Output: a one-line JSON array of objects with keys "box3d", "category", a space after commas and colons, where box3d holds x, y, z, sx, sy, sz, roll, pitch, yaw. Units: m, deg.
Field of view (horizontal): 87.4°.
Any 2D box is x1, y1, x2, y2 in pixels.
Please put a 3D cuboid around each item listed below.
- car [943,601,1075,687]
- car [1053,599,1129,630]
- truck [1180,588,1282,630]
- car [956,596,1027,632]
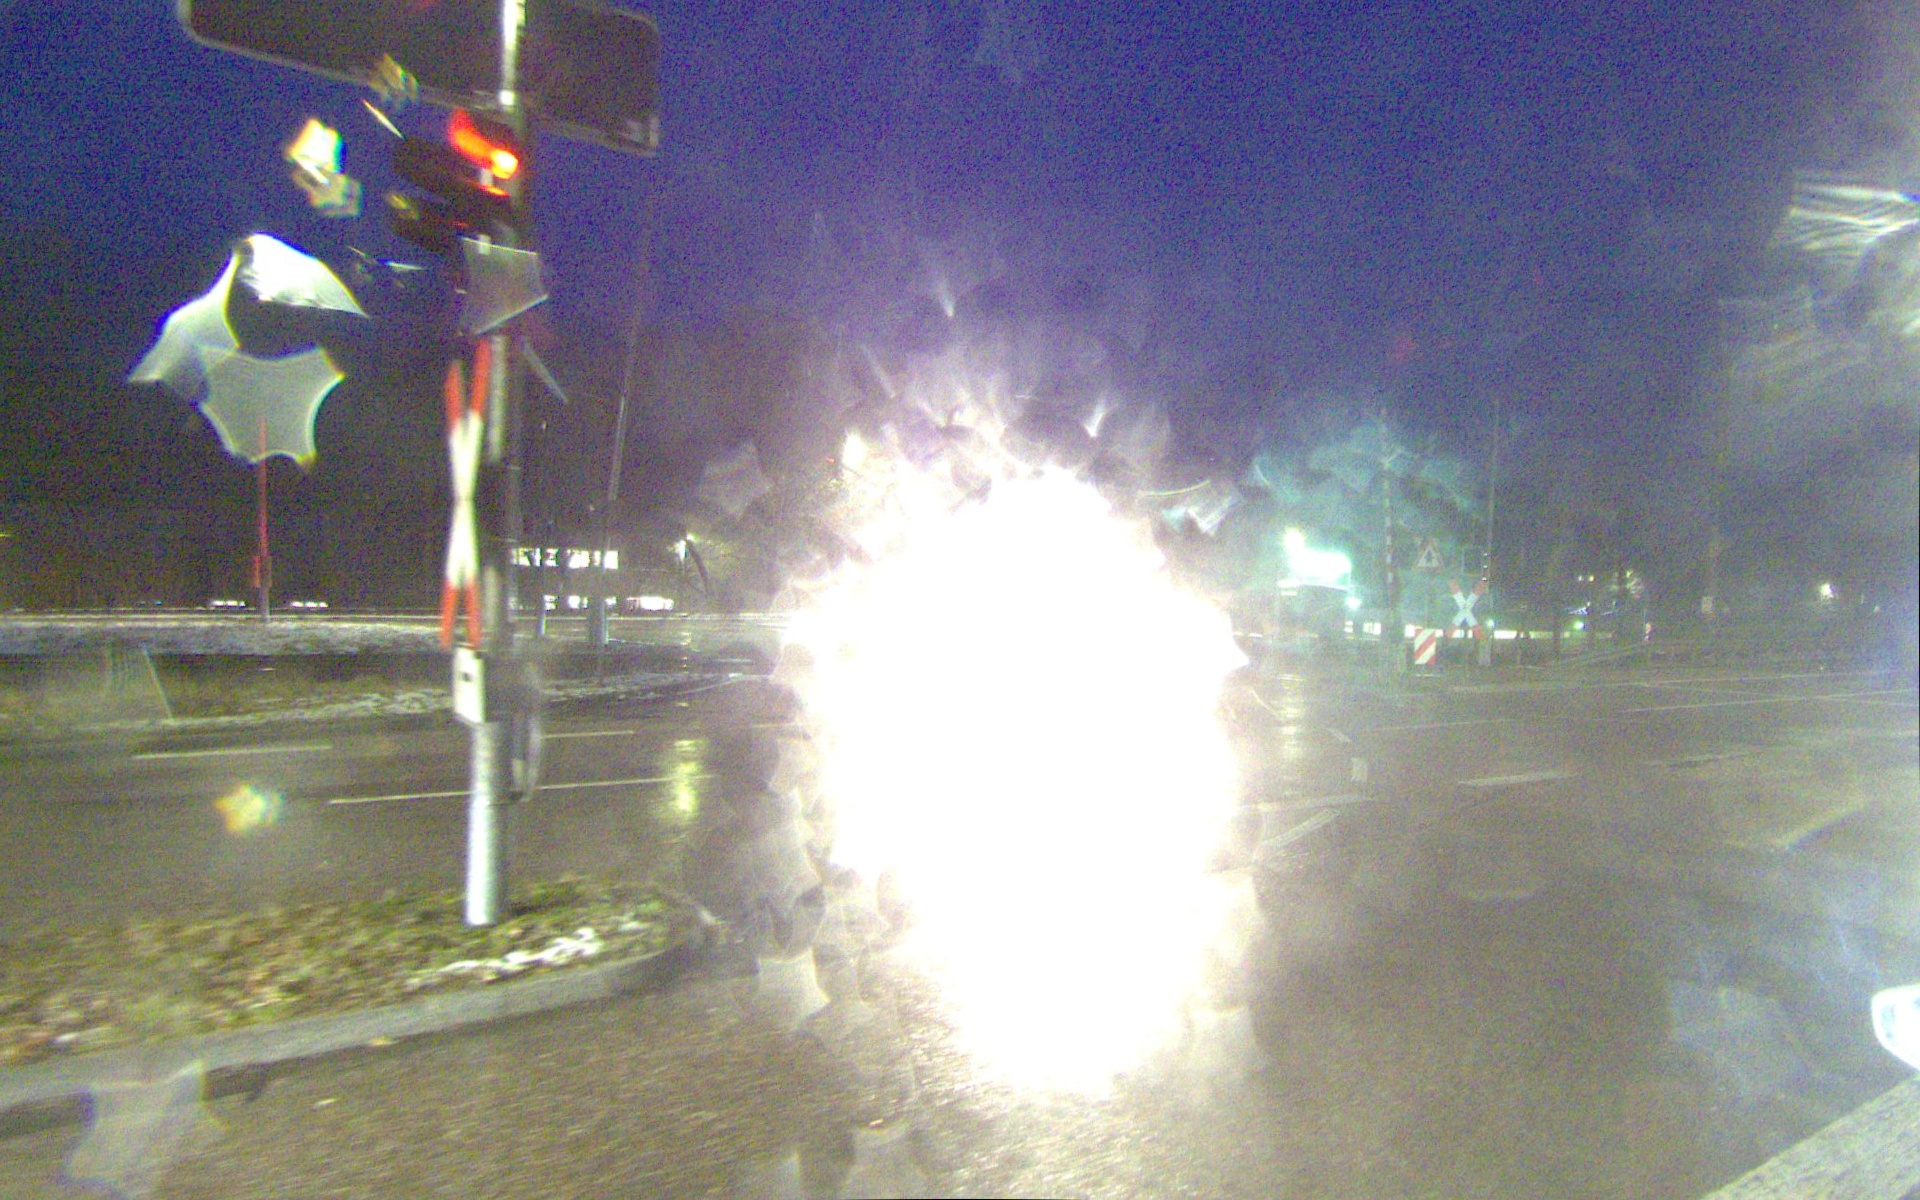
[{"box3d": [0.911, 0.840, 21.156, 1.491, 1.538, 4.360, 2, 0, -15], "category": "car"}, {"box3d": [6.913, 0.762, 52.857, 3.968, 1.539, 1.706, 2, 0, -41], "category": "car"}, {"box3d": [15.786, 0.524, 58.447, 5.946, 2.302, 1.985, 2, 0, -28], "category": "truck"}, {"box3d": [1.507, 0.652, 46.661, 1.695, 1.539, 3.995, 2, 0, 27], "category": "car"}]
